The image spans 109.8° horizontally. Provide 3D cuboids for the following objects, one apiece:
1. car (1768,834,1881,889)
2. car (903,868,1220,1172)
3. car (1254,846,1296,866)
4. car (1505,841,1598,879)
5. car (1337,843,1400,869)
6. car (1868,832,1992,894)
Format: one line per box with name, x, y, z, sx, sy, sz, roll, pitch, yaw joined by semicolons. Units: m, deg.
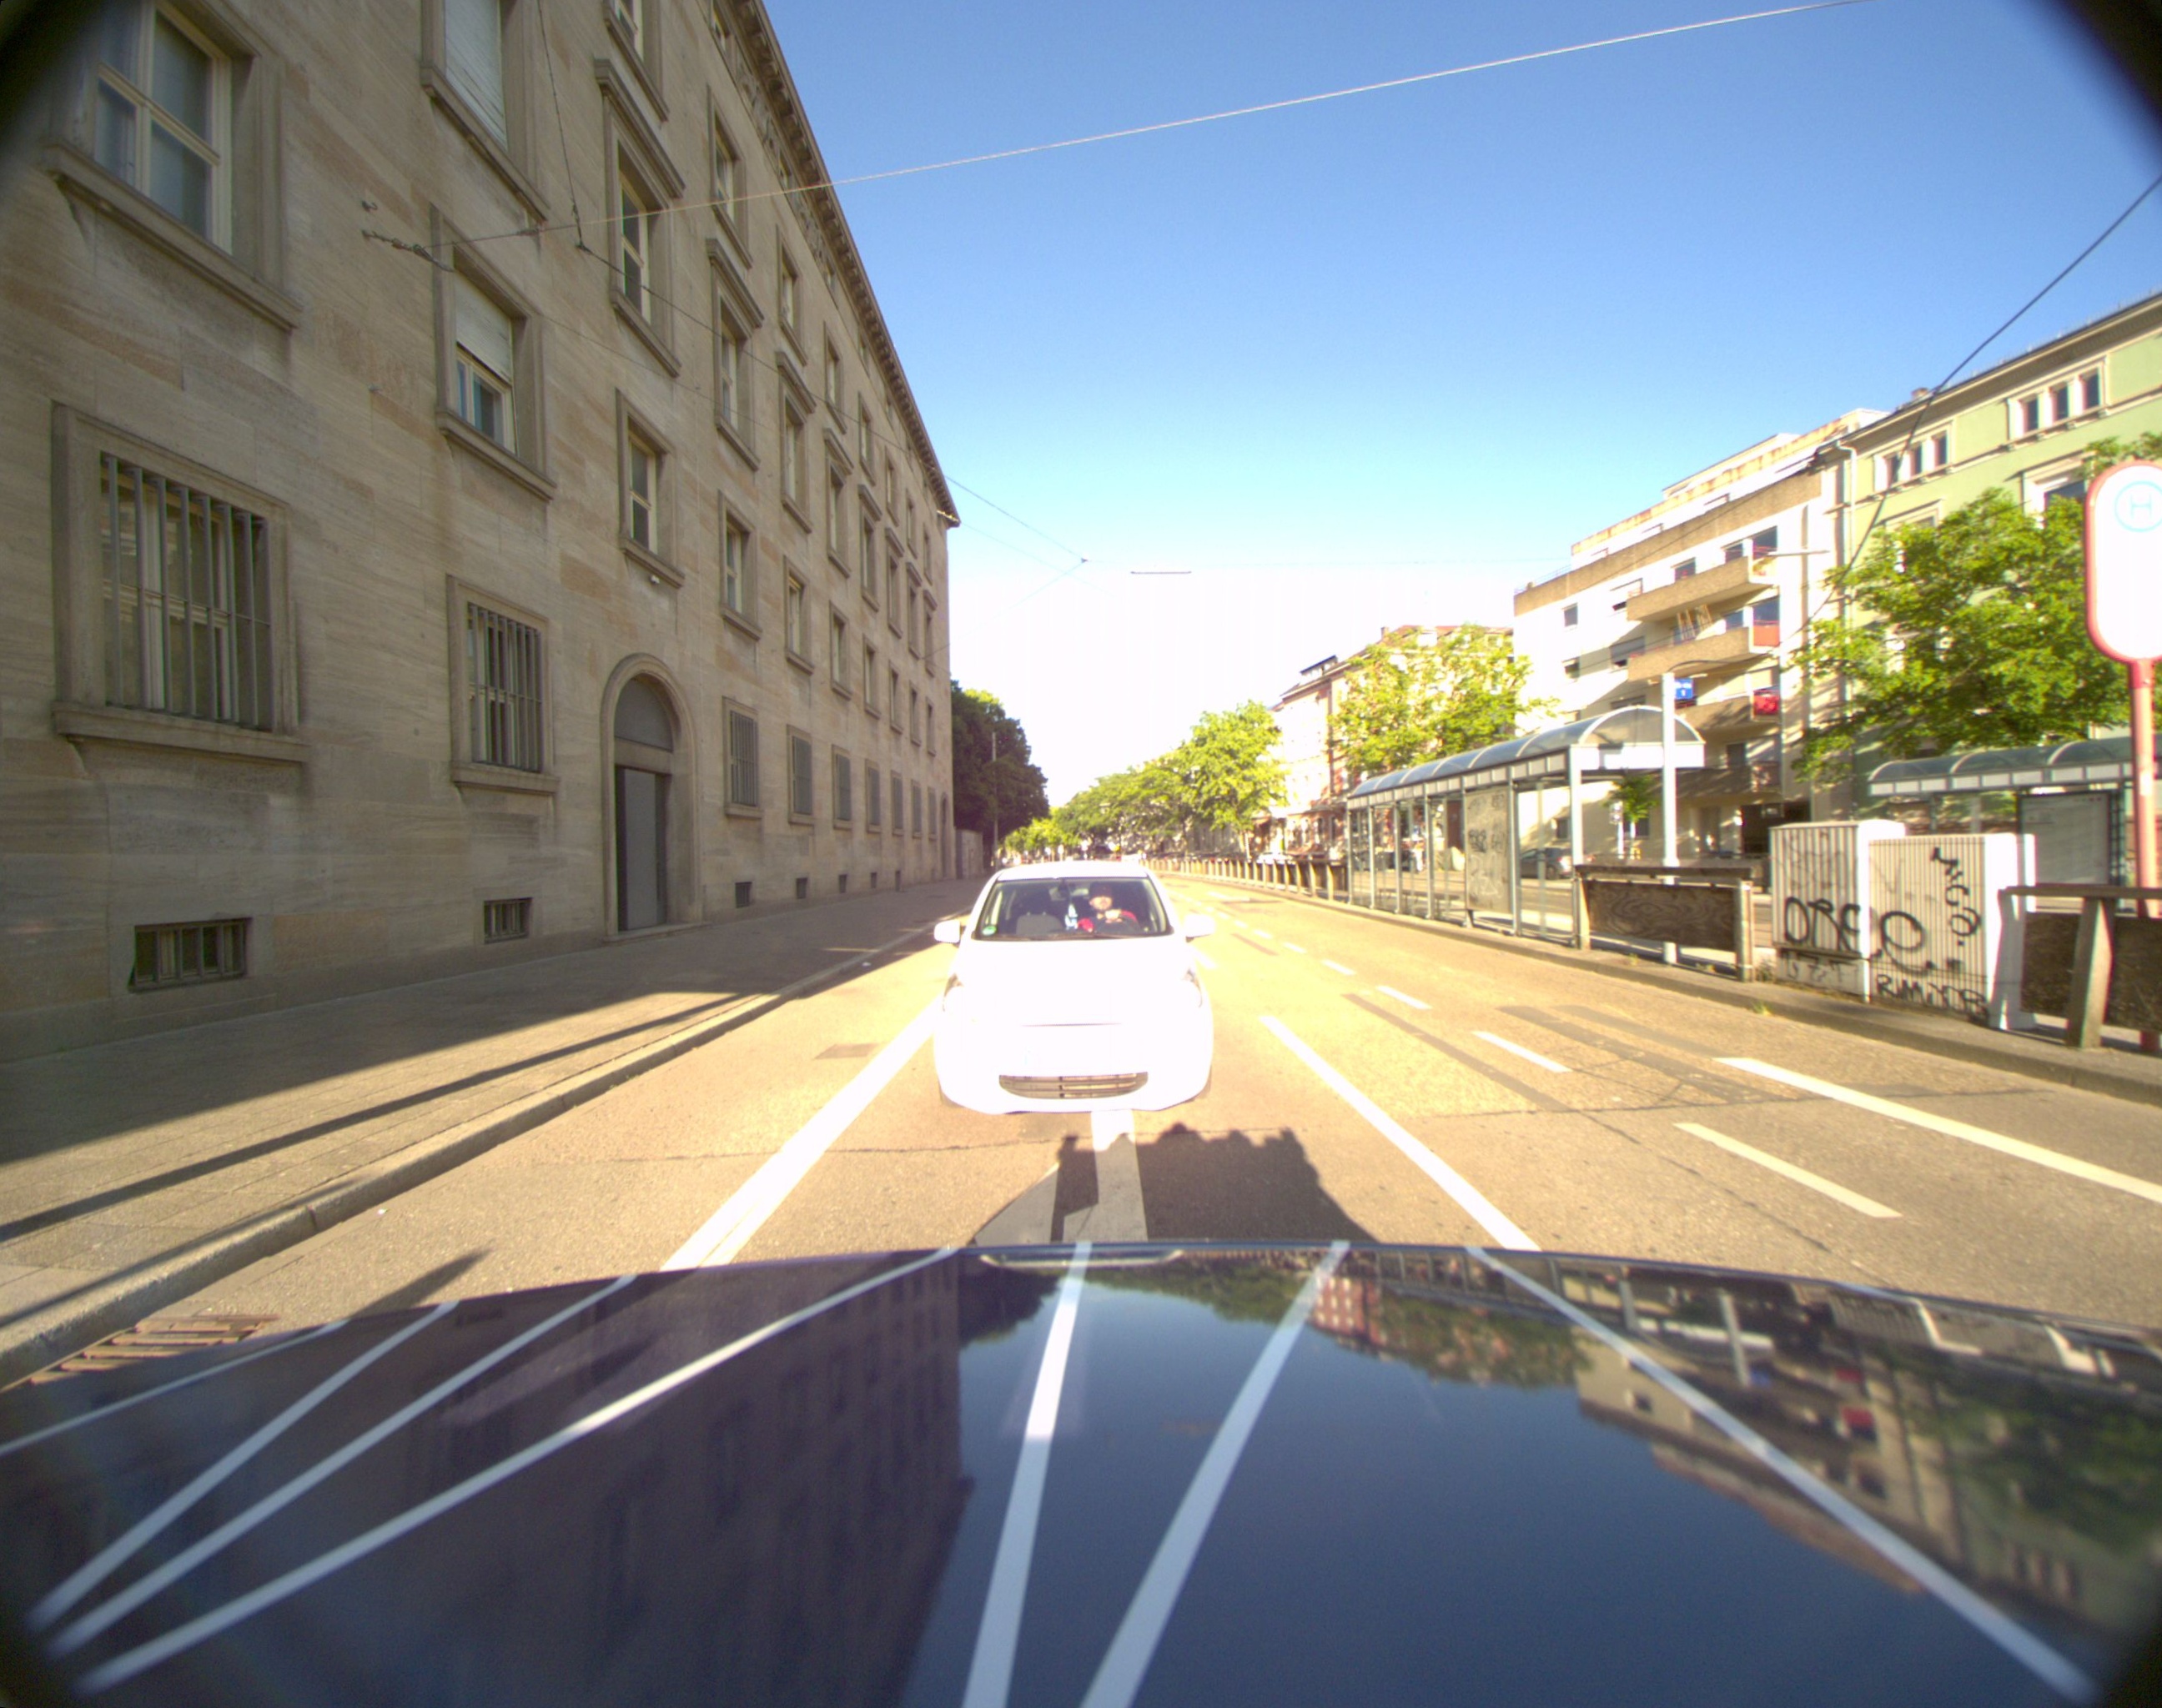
car;23.877;0.223;24.393;3.605;1.558;1.627;-3;1;-29
car;-0.079;0.910;5.799;1.612;1.462;3.631;-2;0;1
car;16.250;0.153;63.467;3.607;1.558;1.627;-3;1;-42
car;20.908;0.230;33.923;1.631;1.558;3.598;-2;1;-5
car;19.536;0.122;51.714;3.599;1.558;1.630;-2;1;-7
car;24.456;0.229;21.881;3.605;1.558;1.627;-3;1;-29
